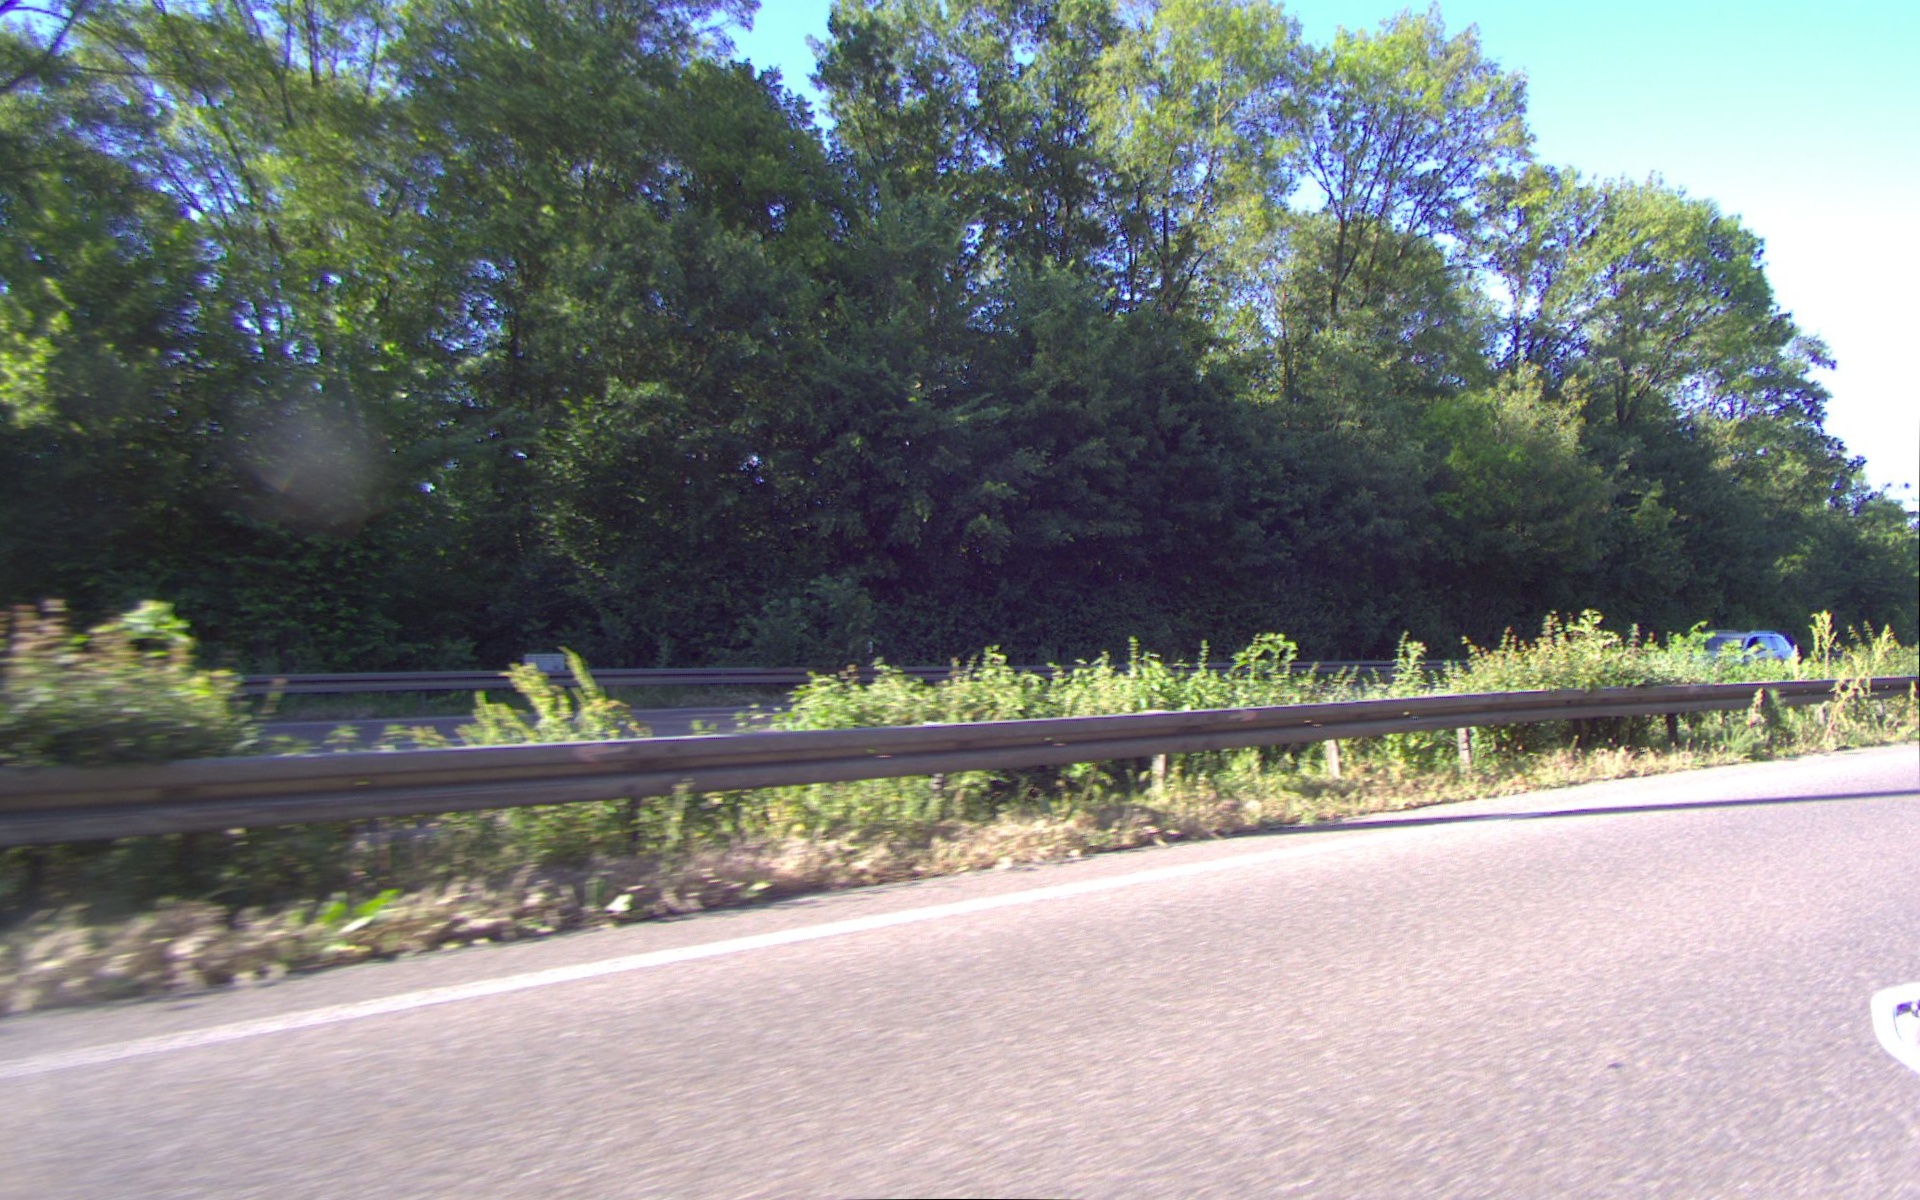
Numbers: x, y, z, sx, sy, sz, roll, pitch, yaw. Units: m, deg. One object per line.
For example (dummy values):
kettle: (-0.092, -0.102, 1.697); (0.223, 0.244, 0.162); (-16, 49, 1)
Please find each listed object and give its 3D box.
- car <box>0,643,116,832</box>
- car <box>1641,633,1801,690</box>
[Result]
car: (-11.400, 1.368, 10.028); (4.247, 1.809, 1.983); (2, -1, -32)
car: (22.494, 1.782, 29.631); (5.179, 1.506, 1.983); (2, -1, -31)
